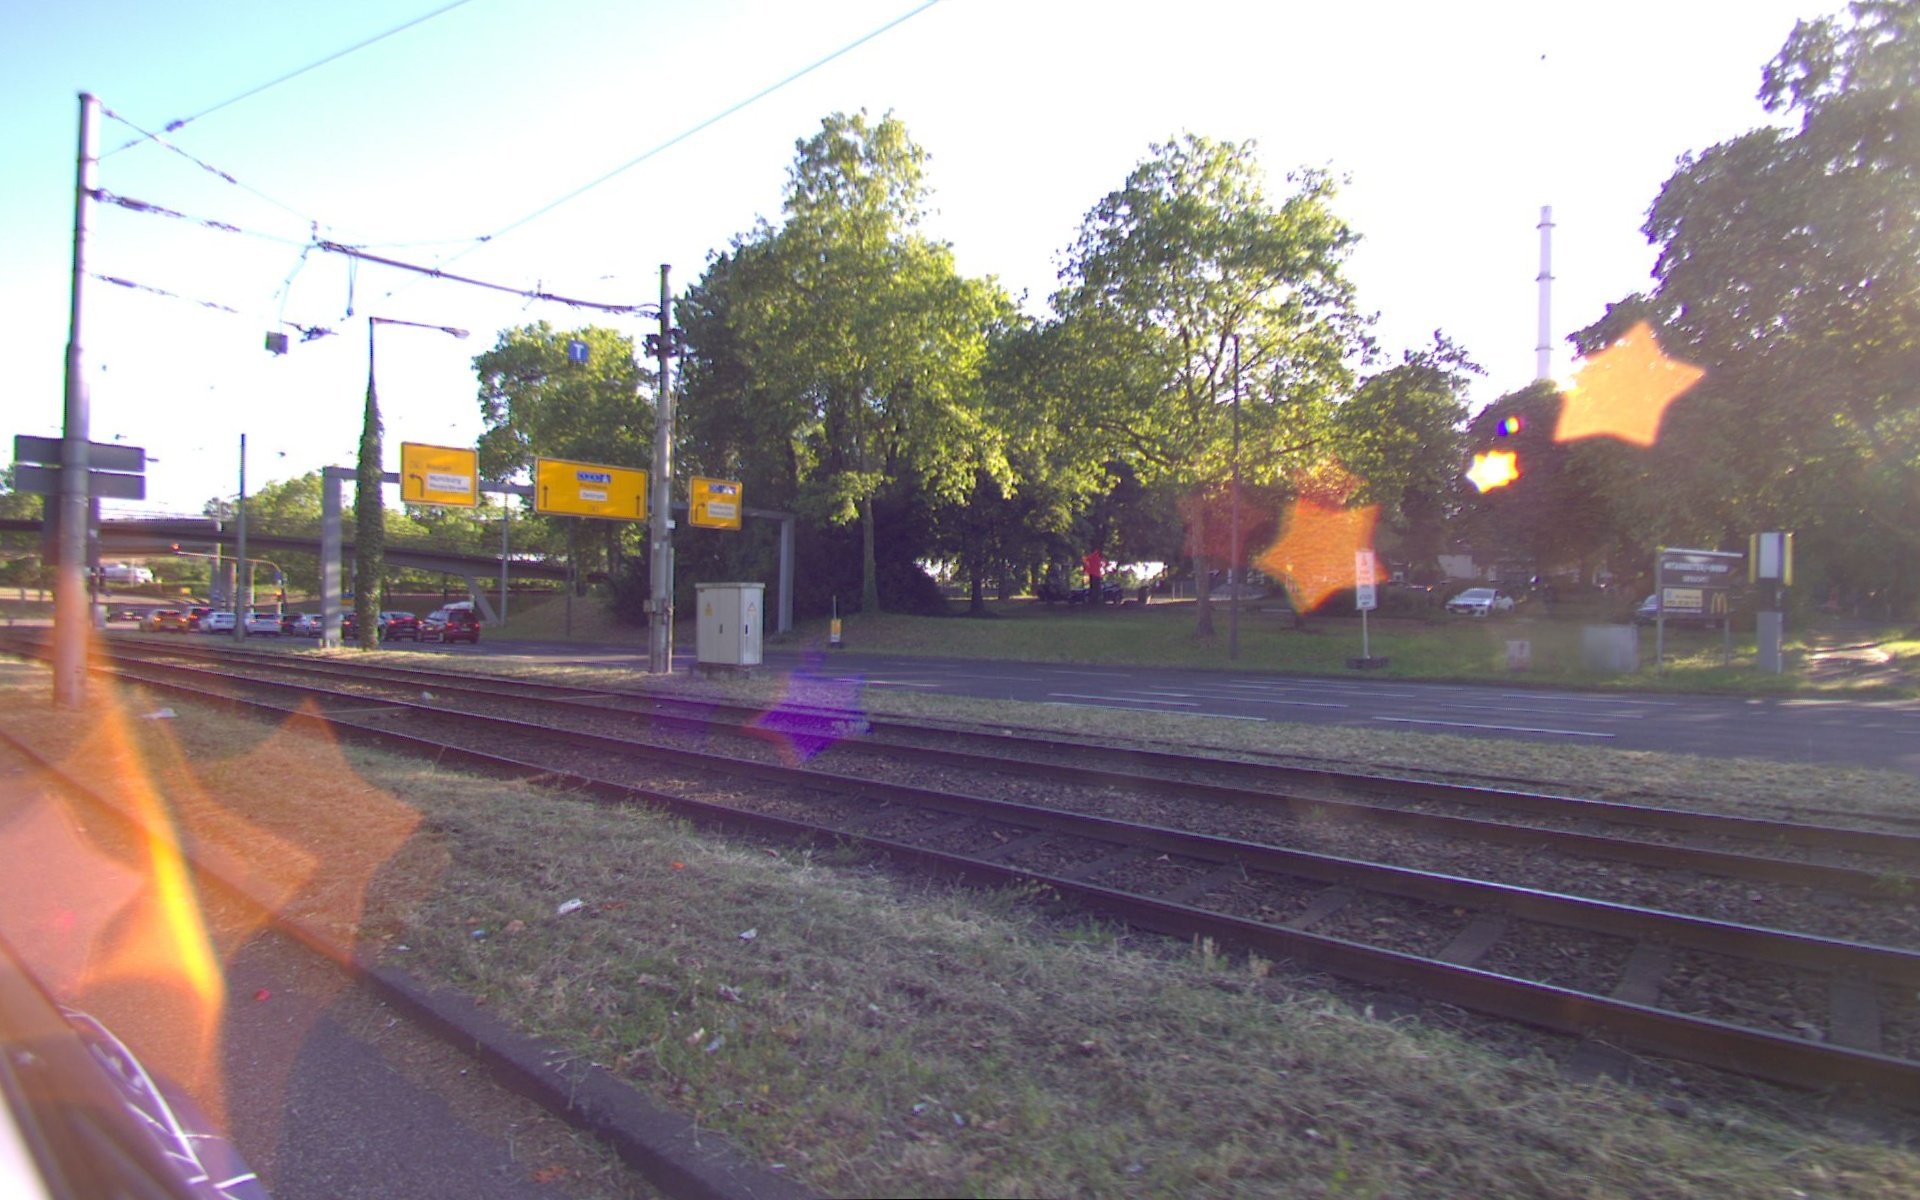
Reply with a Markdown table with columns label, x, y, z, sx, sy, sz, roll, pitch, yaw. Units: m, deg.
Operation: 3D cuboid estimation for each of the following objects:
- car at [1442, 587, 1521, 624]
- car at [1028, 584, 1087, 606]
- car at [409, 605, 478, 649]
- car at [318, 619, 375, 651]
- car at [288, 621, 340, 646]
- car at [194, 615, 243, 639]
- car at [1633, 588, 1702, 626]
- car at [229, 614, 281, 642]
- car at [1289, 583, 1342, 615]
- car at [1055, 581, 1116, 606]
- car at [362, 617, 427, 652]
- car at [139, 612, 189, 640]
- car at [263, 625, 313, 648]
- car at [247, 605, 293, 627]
| label | x | y | z | sx | sy | sz | roll | pitch | yaw |
| --- | --- | --- | --- | --- | --- | --- | --- | --- | --- |
| car | 25.548 | 0.248 | 49.525 | 4.826 | 1.719 | 2.002 | 0 | 0 | -44 |
| car | 6.998 | -0.366 | 72.508 | 3.933 | 1.564 | 1.812 | 0 | 0 | -34 |
| car | -26.066 | 1.333 | 51.046 | 3.998 | 2.121 | 1.774 | 0 | 0 | 41 |
| car | -36.164 | 2.044 | 59.610 | 3.998 | 1.763 | 1.773 | 0 | 0 | 41 |
| car | -41.580 | 2.134 | 65.121 | 3.998 | 1.492 | 1.773 | 0 | 0 | 41 |
| car | -47.754 | 1.740 | 65.140 | 4.412 | 1.443 | 1.722 | 0 | -3 | 43 |
| car | 31.086 | 0.282 | 44.400 | 2.043 | 1.586 | 4.342 | -1 | 0 | 41 |
| car | -42.349 | 1.642 | 60.739 | 4.189 | 1.577 | 1.645 | 0 | 0 | 41 |
| car | 19.289 | -0.047 | 54.825 | 1.822 | 1.700 | 4.179 | -1 | 0 | 32 |
| car | 8.120 | -0.393 | 65.439 | 3.940 | 1.564 | 1.809 | 0 | 0 | -44 |
| car | -30.889 | 1.870 | 55.241 | 4.239 | 1.763 | 1.773 | 0 | 0 | 41 |
| car | -47.172 | 1.503 | 59.952 | 3.998 | 1.577 | 1.645 | 0 | 0 | 41 |
| car | -45.665 | 2.438 | 68.741 | 4.474 | 1.393 | 1.773 | 0 | 0 | 41 |
| car | -49.329 | 1.124 | 72.332 | 3.998 | 1.453 | 1.773 | 0 | 0 | 41 |
